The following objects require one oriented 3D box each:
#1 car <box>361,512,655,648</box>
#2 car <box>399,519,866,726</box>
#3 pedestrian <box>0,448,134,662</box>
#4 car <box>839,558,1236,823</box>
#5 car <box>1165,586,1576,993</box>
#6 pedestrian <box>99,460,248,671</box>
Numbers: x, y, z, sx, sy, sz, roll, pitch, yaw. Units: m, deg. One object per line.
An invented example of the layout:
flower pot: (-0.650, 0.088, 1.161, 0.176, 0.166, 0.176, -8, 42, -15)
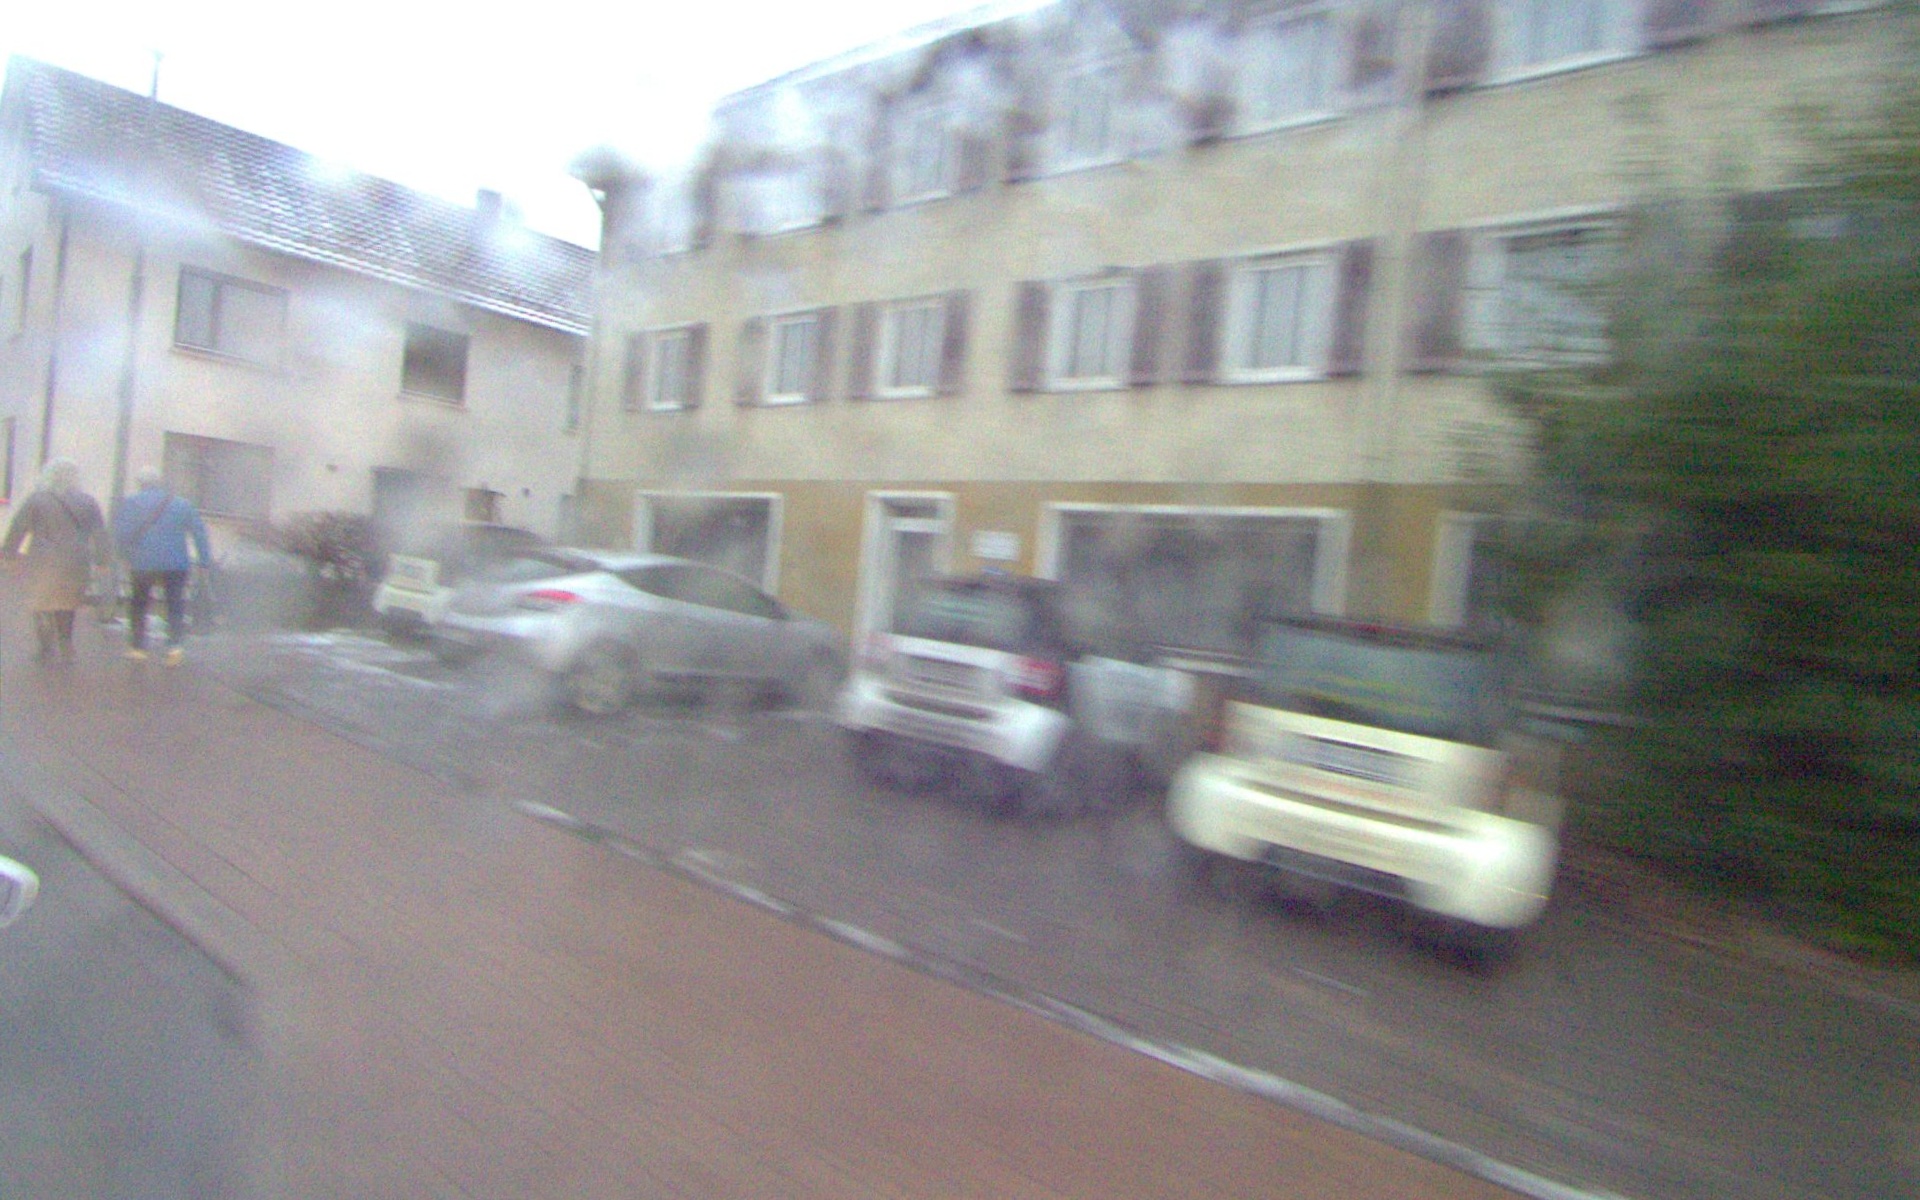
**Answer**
car: (-5.971, -0.206, 13.581, 1.562, 1.493, 3.216, 7, 1, 33)
car: (-2.902, 0.238, 9.645, 1.724, 1.493, 3.897, 7, 1, 36)
pedestrian: (-7.697, -0.380, 8.551, 0.978, 1.690, 0.864, 8, 4, 42)
car: (0.743, 0.610, 7.713, 1.526, 1.493, 3.062, 7, 1, 36)
car: (2.451, 0.854, 5.694, 1.526, 1.567, 2.583, 8, 2, 33)
pedestrian: (-7.017, -0.307, 8.971, 0.958, 1.757, 0.846, 8, 4, 42)
